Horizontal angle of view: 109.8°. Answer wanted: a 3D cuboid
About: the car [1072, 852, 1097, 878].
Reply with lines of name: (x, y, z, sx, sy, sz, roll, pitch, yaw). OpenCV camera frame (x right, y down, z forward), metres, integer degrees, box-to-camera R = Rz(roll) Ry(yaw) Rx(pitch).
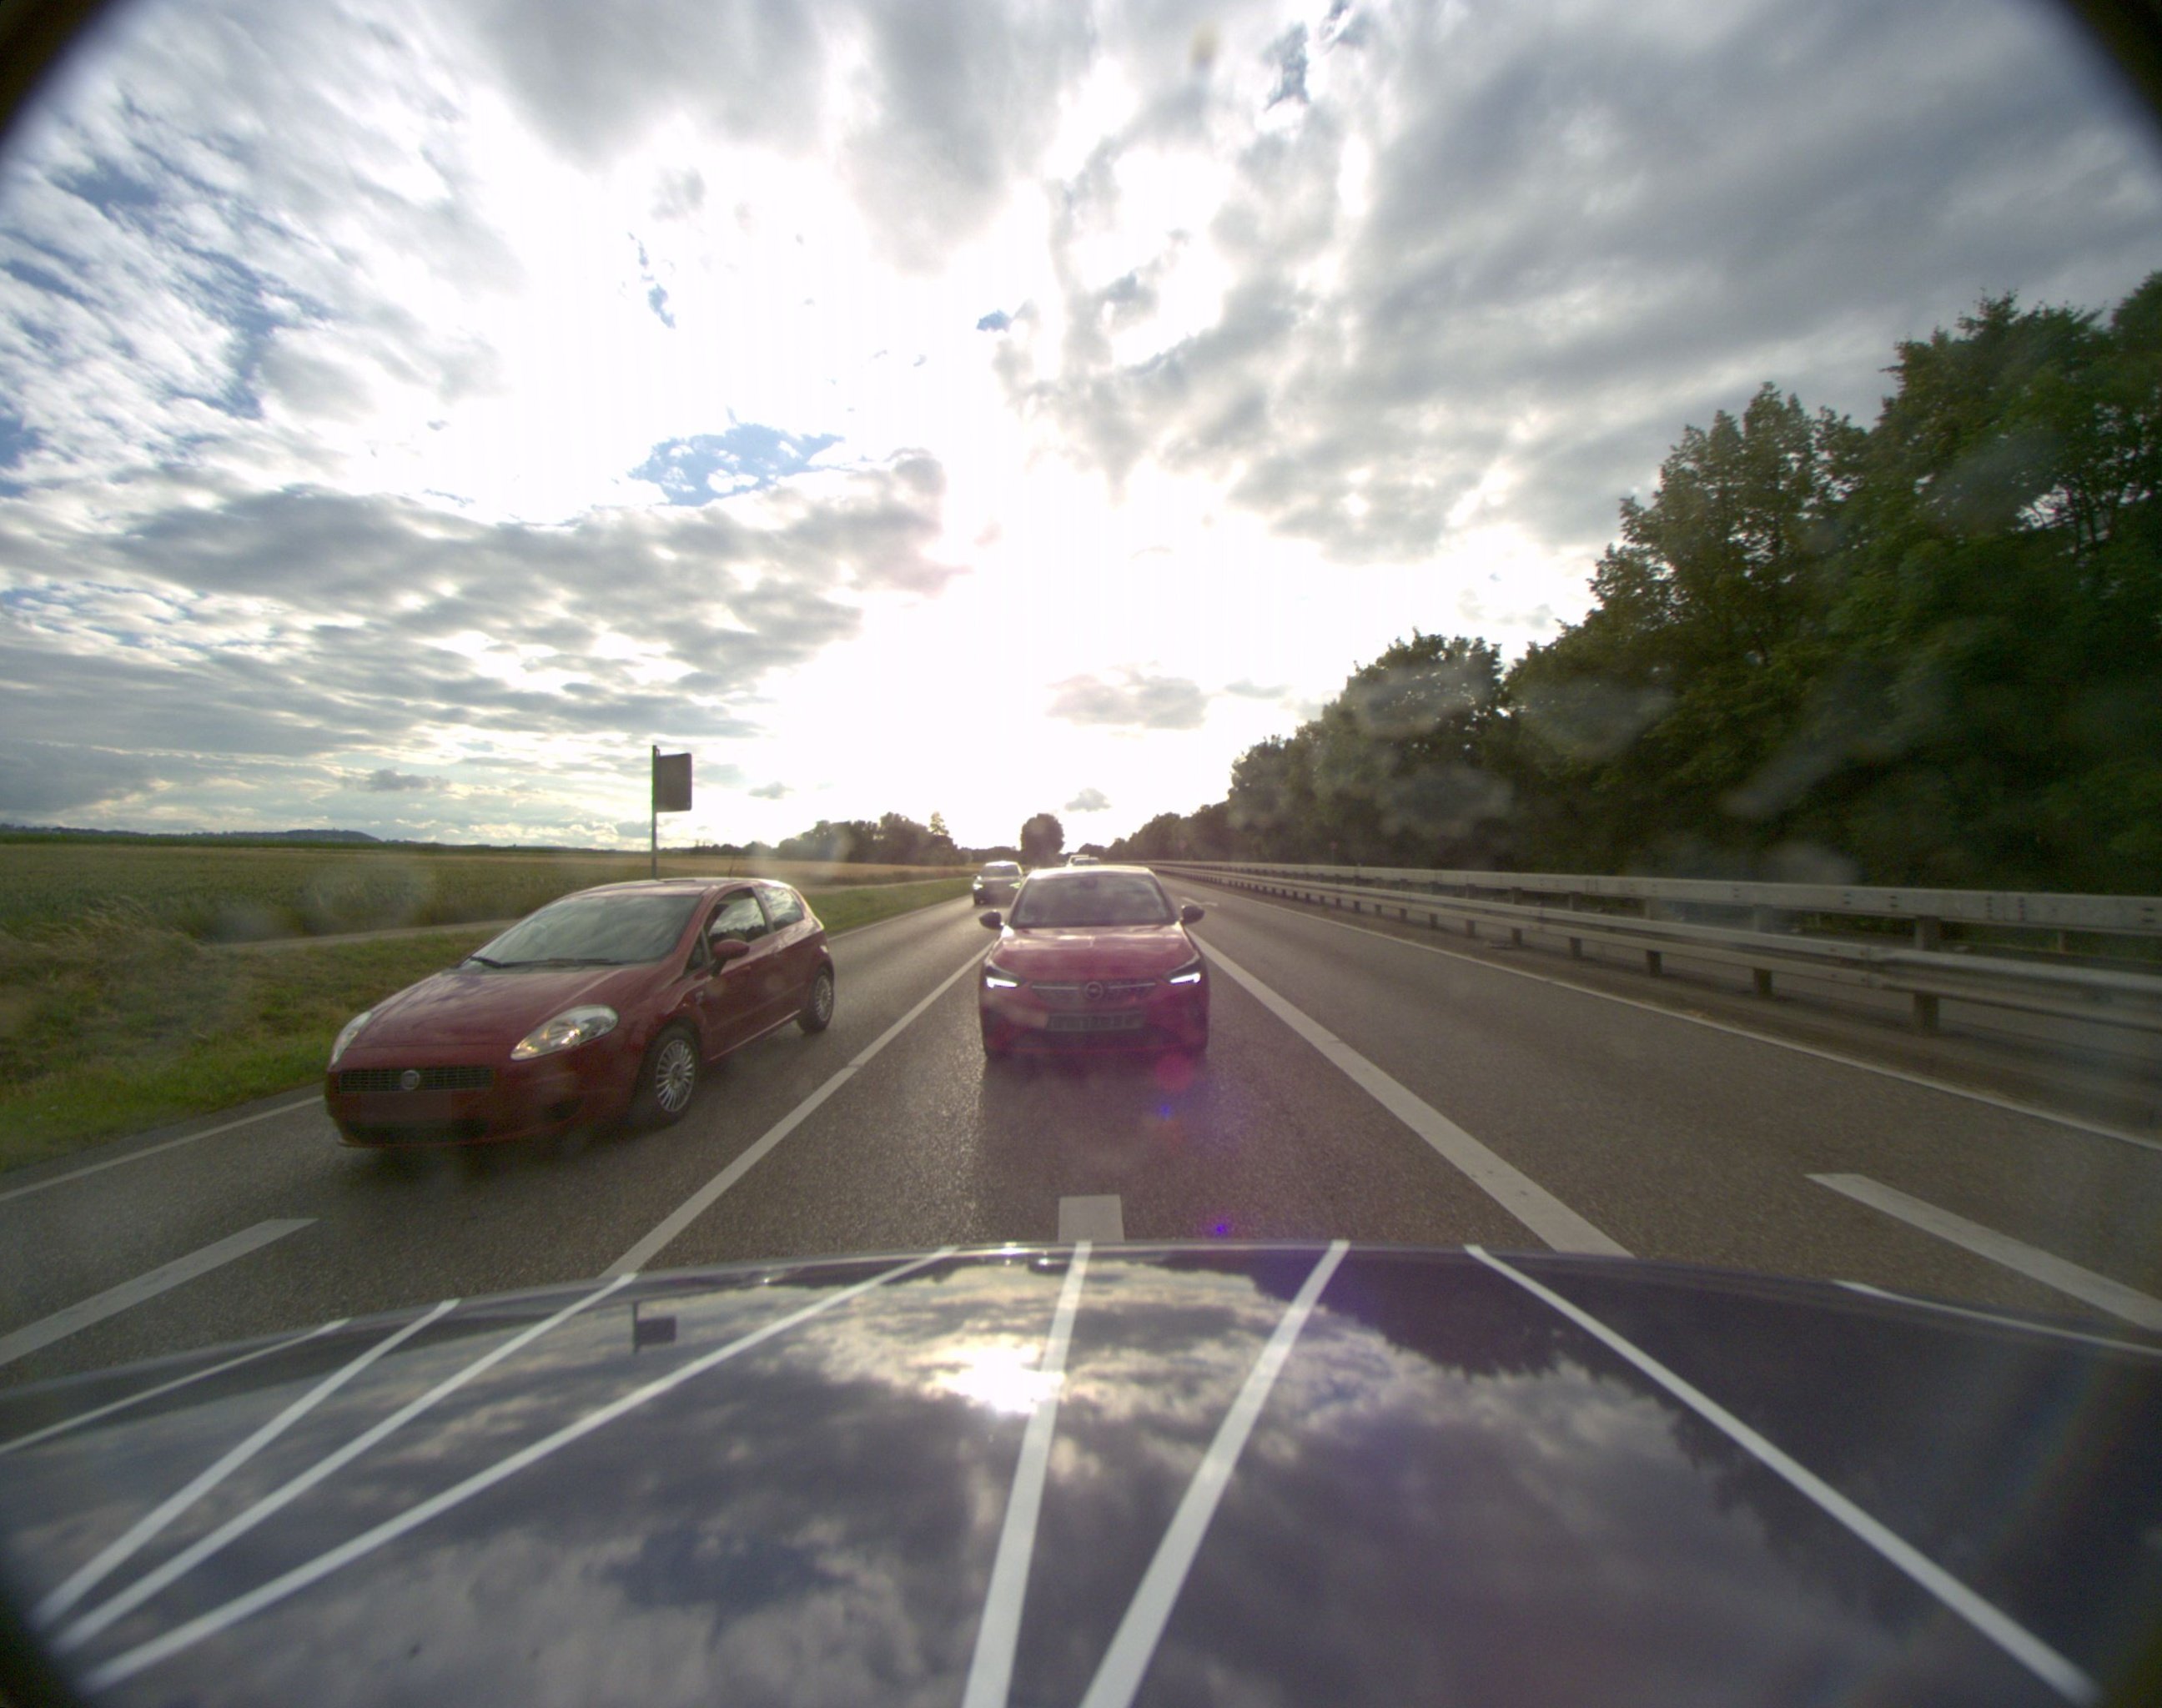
car: (0.264, 0.761, 55.892, 1.671, 1.730, 4.032, -2, 1, 1)

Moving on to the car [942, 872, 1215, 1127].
car: (0.016, 0.994, 6.951, 1.712, 1.448, 4.061, -2, 1, 1)

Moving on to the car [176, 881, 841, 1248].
car: (-3.256, 1.048, 5.463, 1.712, 1.448, 3.908, -2, 1, 1)

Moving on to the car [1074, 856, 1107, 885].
car: (0.537, 0.887, 42.324, 1.712, 1.448, 4.061, -2, 1, 1)

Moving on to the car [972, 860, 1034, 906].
car: (-2.828, 1.026, 28.296, 1.799, 1.448, 4.032, -2, 0, 1)
